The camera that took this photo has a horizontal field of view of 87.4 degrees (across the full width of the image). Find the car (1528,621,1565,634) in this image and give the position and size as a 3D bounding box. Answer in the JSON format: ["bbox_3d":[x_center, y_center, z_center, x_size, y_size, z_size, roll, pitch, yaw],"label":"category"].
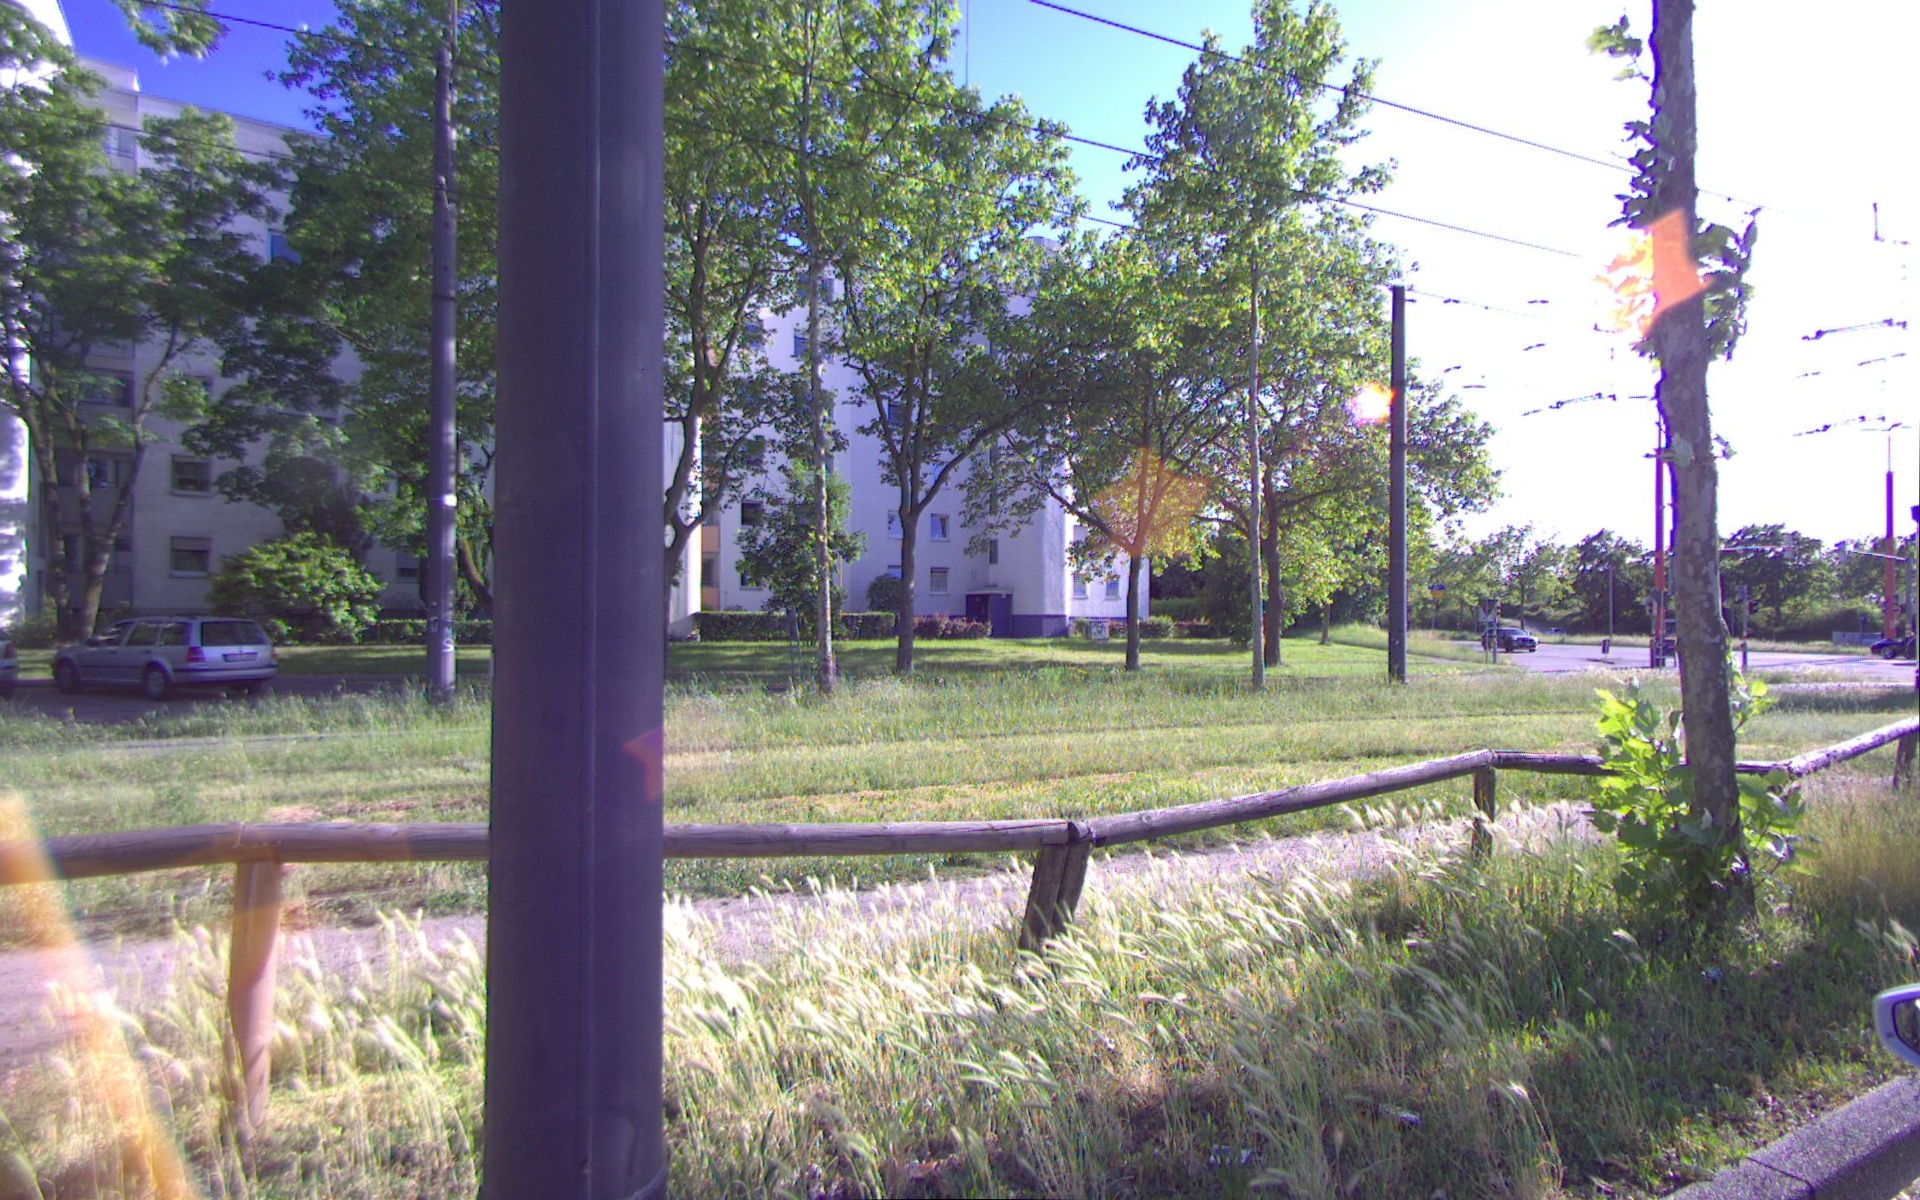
[{"bbox_3d":[62.379,2.934,106.842,1.630,1.327,3.815,1,-1,-1],"label":"car"}]

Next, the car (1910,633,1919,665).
[{"bbox_3d":[46.609,2.314,45.984,1.892,1.483,4.207,1,-1,-30],"label":"car"}]

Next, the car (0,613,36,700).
[{"bbox_3d":[-17.926,0.925,17.138,3.609,1.452,1.703,0,-1,20],"label":"car"}]

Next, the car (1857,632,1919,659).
[{"bbox_3d":[49.029,2.352,52.117,1.707,1.327,3.817,1,-1,3],"label":"car"}]

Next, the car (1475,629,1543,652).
[{"bbox_3d":[38.786,2.839,71.079,1.962,1.564,4.645,1,-1,-5],"label":"car"}]

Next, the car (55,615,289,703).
[{"bbox_3d":[-14.482,1.024,18.482,3.609,1.452,1.732,0,-1,20],"label":"car"}]
